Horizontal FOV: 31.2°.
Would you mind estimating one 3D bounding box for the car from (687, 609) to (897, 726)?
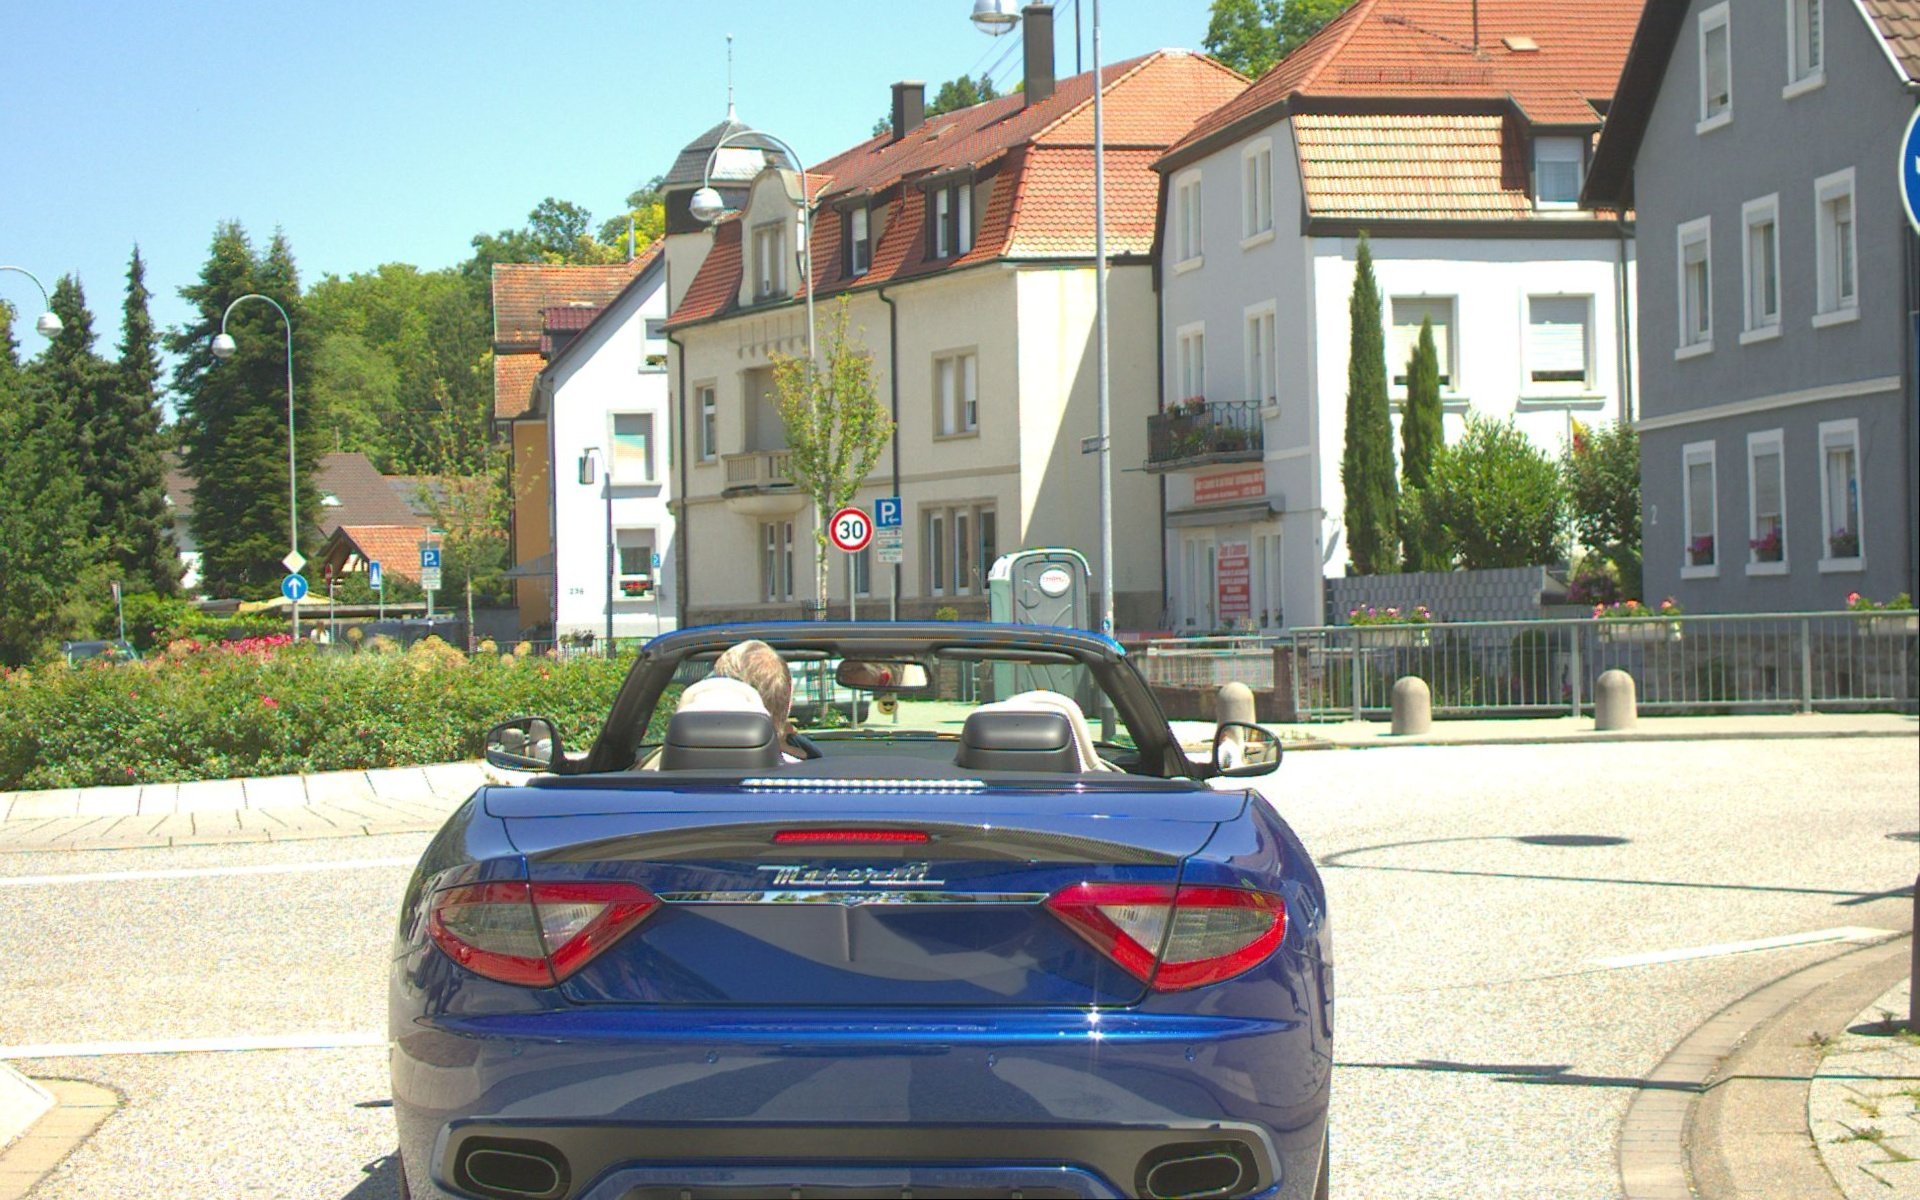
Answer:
[{"bbox_3d":[-2.548,1.027,51.135,1.918,1.607,4.148,-2,-1,-20],"label":"car"}]

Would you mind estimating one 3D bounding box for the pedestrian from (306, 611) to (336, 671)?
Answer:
[{"bbox_3d":[-16.866,1.081,90.729,0.611,1.580,0.587,-2,0,-27],"label":"pedestrian"}]

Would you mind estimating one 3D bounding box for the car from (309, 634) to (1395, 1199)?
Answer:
[{"bbox_3d":[-0.161,0.780,8.203,1.910,1.356,4.285,0,0,1],"label":"car"}]

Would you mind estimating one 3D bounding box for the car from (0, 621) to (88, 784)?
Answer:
[{"bbox_3d":[-10.660,1.067,34.792,1.799,1.637,4.056,-2,-1,15],"label":"car"}]

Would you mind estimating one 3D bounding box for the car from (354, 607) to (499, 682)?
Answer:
[{"bbox_3d":[-12.152,1.017,78.208,1.850,1.583,4.000,-3,0,-31],"label":"car"}]
